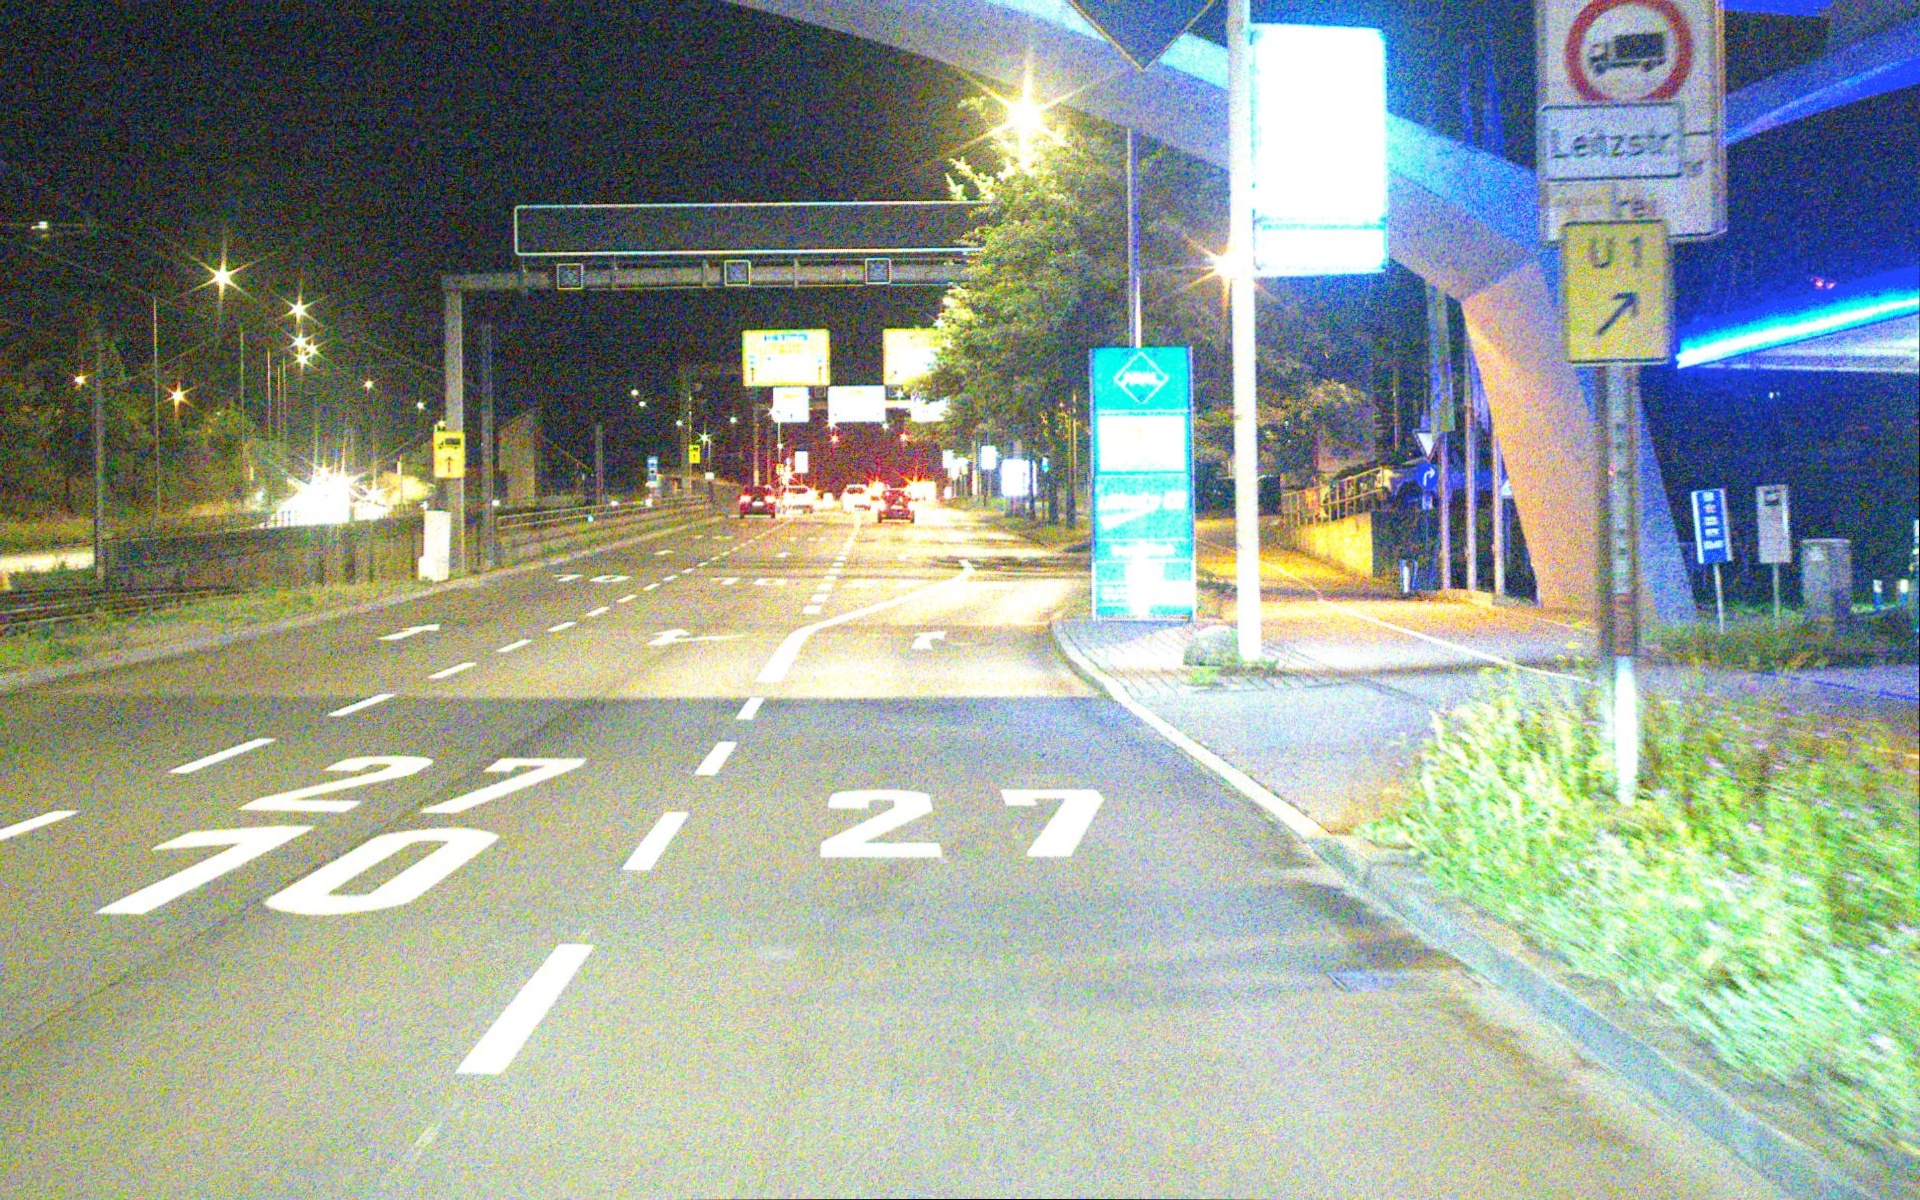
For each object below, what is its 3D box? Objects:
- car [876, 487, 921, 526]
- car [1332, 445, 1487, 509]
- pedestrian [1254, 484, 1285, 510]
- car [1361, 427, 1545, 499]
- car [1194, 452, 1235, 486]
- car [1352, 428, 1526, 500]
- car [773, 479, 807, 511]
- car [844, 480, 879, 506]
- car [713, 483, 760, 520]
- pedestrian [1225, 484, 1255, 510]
[{"bbox_3d":[-2.899,-4.409,162.470,1.968,1.705,4.000,1,1,1],"label":"car"},{"bbox_3d":[11.688,-3.188,89.552,3.724,1.484,1.742,-2,0,-2],"label":"car"},{"bbox_3d":[12.403,-4.122,137.818,0.997,1.004,0.772,1,1,-16],"label":"pedestrian"},{"bbox_3d":[11.786,-3.267,82.346,4.119,1.517,1.822,-2,0,1],"label":"car"},{"bbox_3d":[12.381,-6.364,167.229,1.893,1.506,3.635,1,1,6],"label":"car"},{"bbox_3d":[11.783,-3.351,84.696,3.987,1.566,1.738,-2,0,1],"label":"car"},{"bbox_3d":[-9.693,-5.946,195.720,1.782,1.705,4.001,1,1,-4],"label":"car"},{"bbox_3d":[-6.172,-6.696,215.457,2.005,1.546,4.295,1,1,1],"label":"car"},{"bbox_3d":[-11.130,-4.889,171.324,1.968,1.705,4.000,1,1,1],"label":"car"},{"bbox_3d":[11.232,-4.136,137.829,0.913,1.035,0.770,0,2,42],"label":"pedestrian"}]
